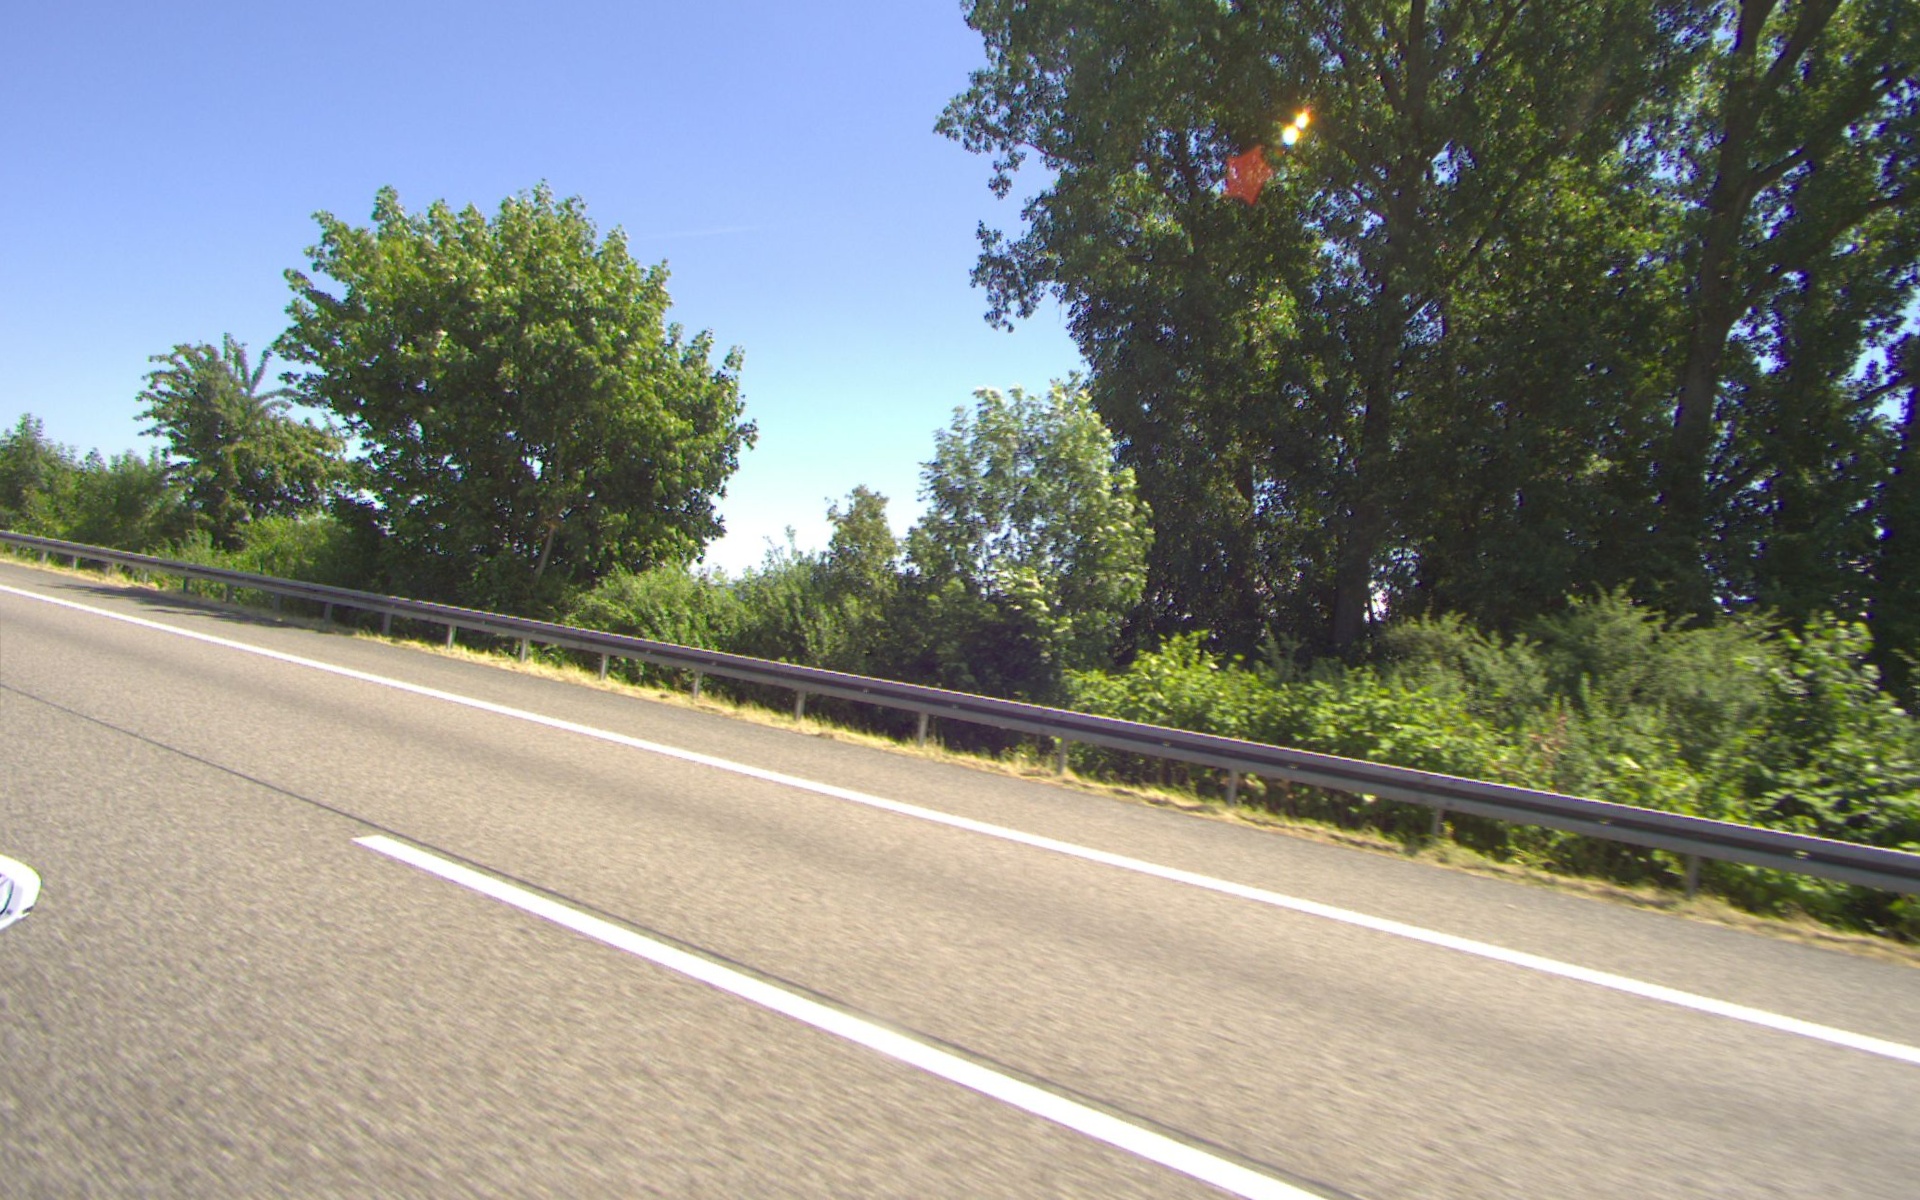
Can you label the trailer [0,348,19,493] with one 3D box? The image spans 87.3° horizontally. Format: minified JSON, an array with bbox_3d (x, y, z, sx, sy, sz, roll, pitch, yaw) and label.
[{"bbox_3d":[-22.784,-3.017,19.411,12.320,4.154,2.966,6,-1,30],"label":"trailer"}]
